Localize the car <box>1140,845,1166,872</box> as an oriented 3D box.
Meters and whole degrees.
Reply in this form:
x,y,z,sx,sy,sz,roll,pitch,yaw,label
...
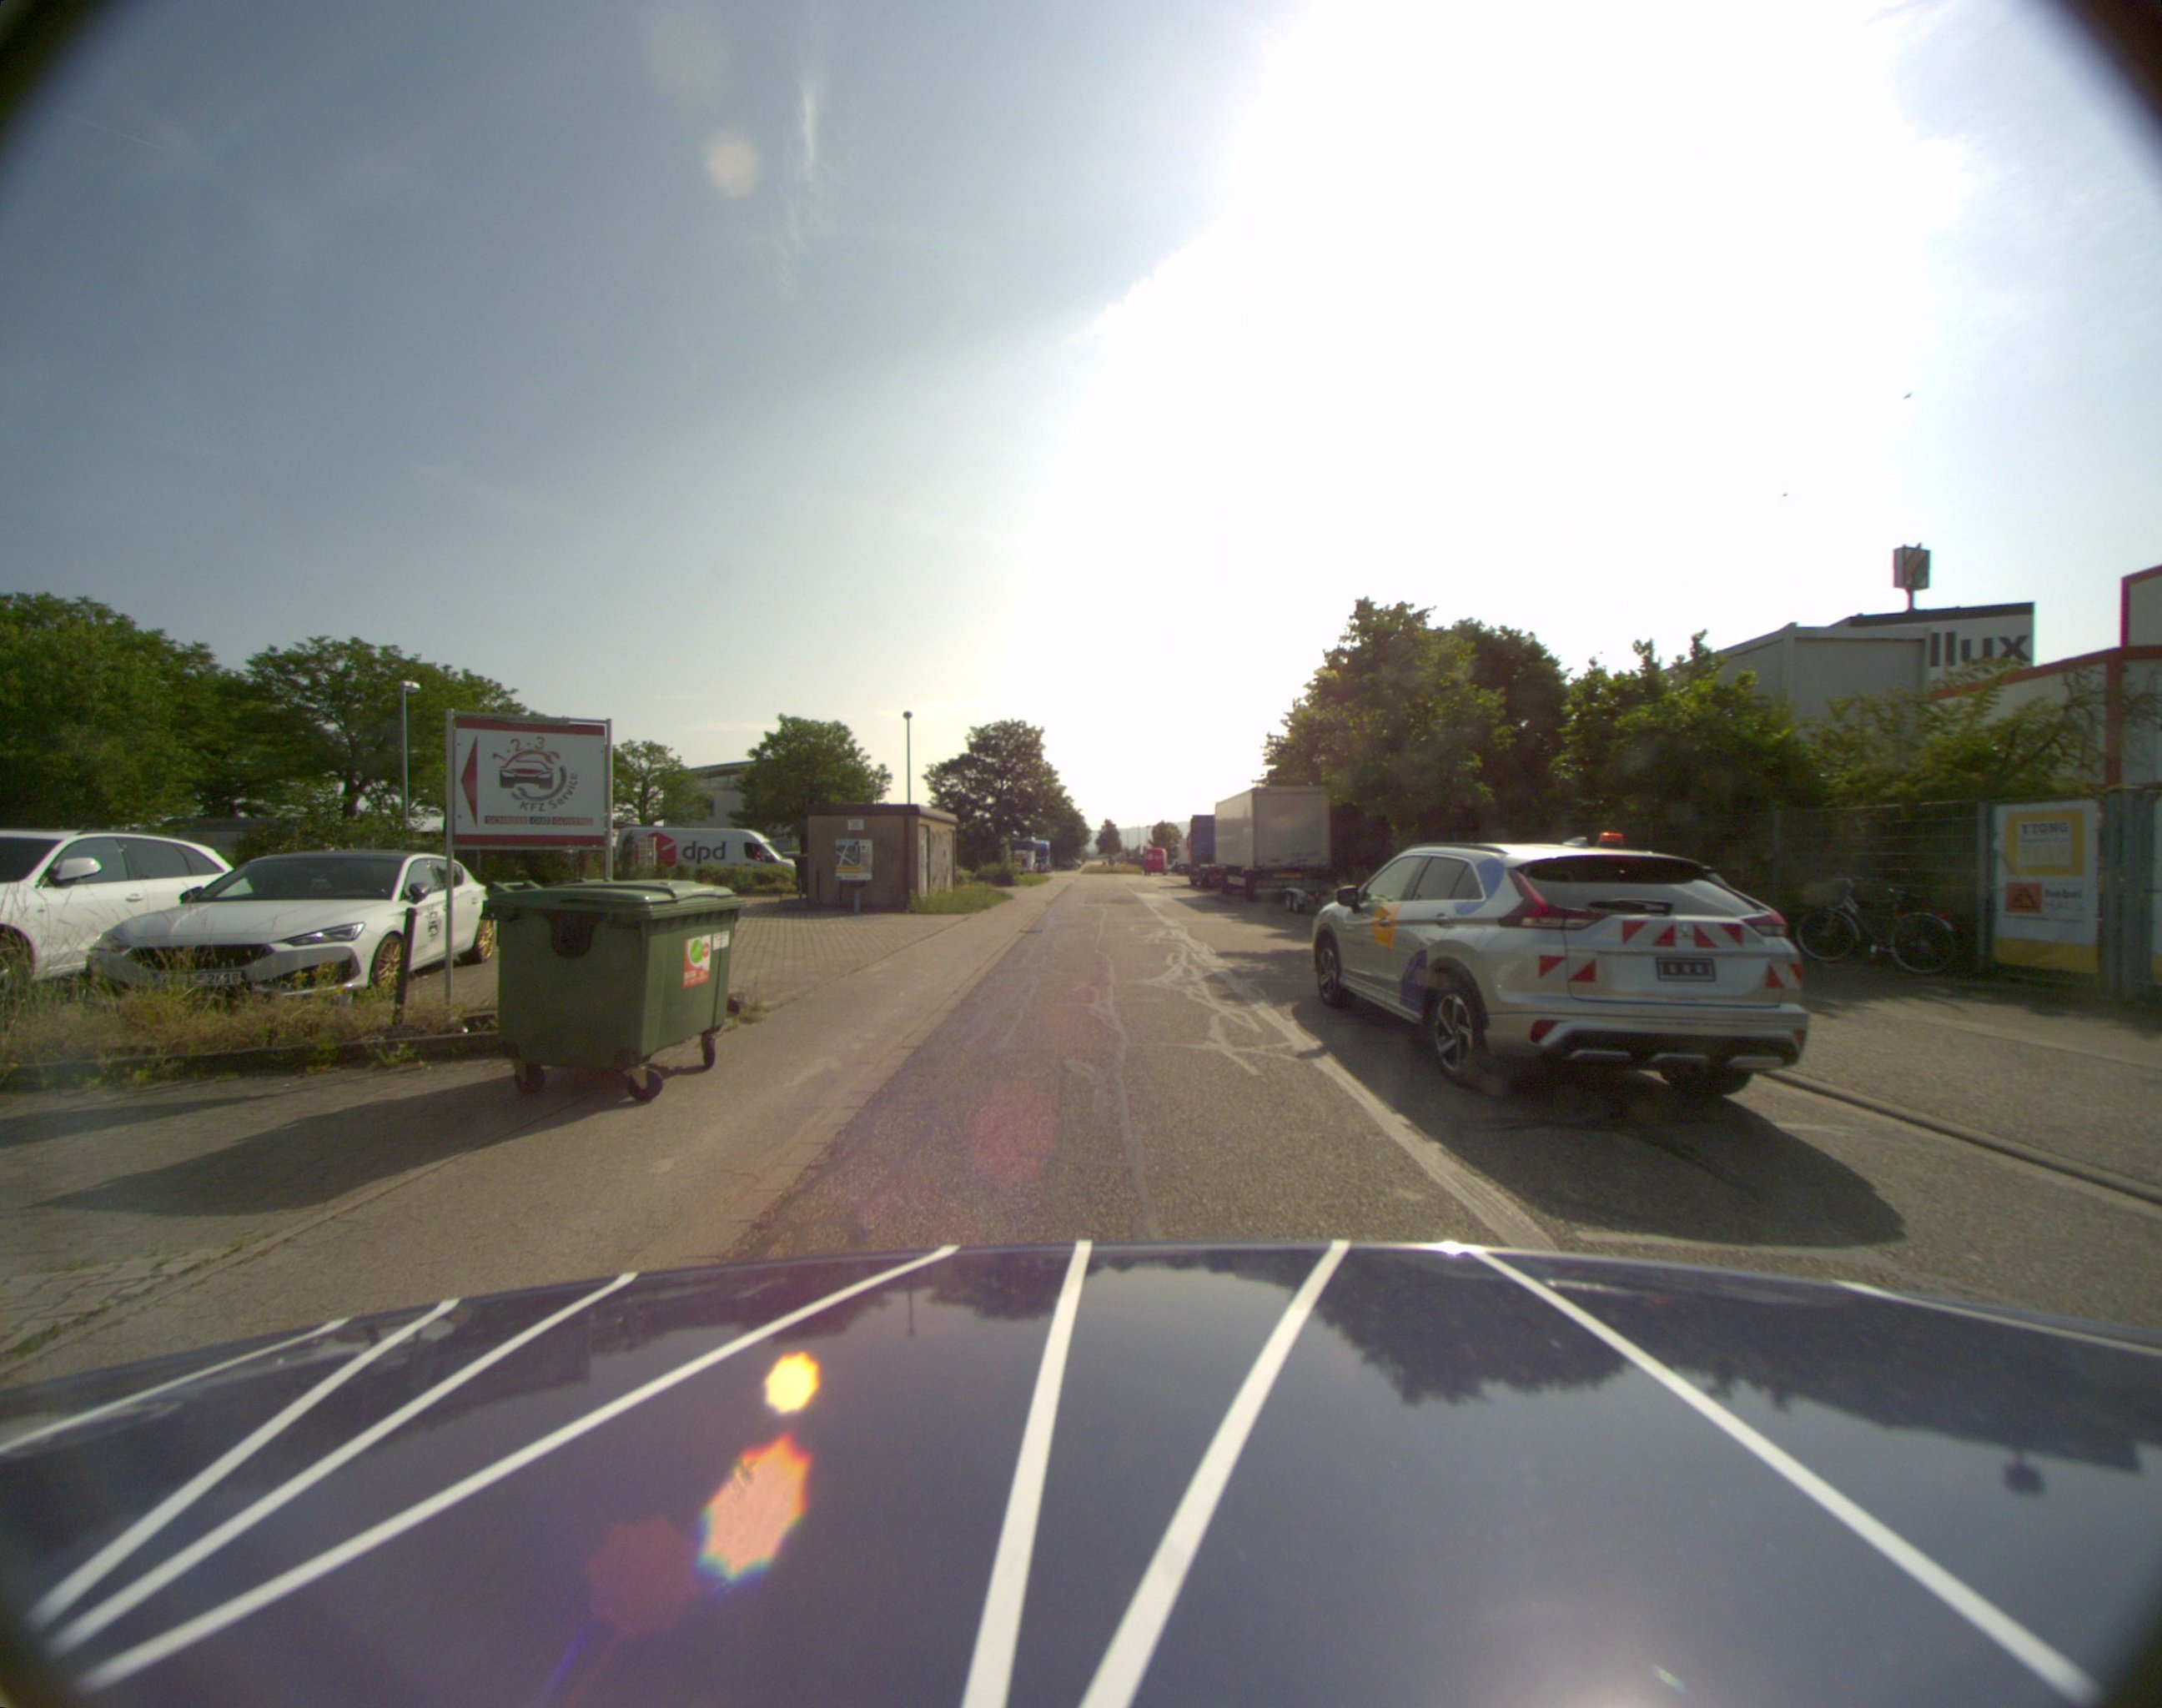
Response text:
x,y,z,sx,sy,sz,roll,pitch,yaw,label
6.992,0.413,74.232,1.998,2.532,6.990,1,0,2,car

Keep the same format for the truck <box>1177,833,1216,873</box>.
x,y,z,sx,sy,sz,roll,pitch,yaw,label
12.034,-0.071,80.051,2.783,3.831,10.063,1,0,1,truck

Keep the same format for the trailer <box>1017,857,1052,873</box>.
x,y,z,sx,sy,sz,roll,pitch,yaw,label
-4.762,1.065,80.311,2.553,1.383,14.136,1,0,1,trailer

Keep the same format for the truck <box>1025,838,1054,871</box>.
x,y,z,sx,sy,sz,roll,pitch,yaw,label
-5.091,0.076,94.685,3.043,3.916,10.578,0,0,0,truck

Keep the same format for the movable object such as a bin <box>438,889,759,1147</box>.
x,y,z,sx,sy,sz,roll,pitch,yaw,label
-3.079,0.966,5.081,1.083,1.345,1.506,3,0,4,movable object such as a bin

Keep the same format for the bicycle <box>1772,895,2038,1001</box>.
x,y,z,sx,sy,sz,roll,pitch,yaw,label
9.777,1.052,9.218,0.563,0.967,2.452,1,0,1,bicycle

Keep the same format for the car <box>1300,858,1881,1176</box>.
x,y,z,sx,sy,sz,roll,pitch,yaw,label
3.265,0.862,6.083,1.816,1.617,4.249,1,0,1,car

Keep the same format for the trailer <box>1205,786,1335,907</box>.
x,y,z,sx,sy,sz,roll,pitch,yaw,label
6.967,-0.248,29.671,2.706,3.861,9.765,-1,0,1,trailer

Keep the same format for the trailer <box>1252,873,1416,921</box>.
x,y,z,sx,sy,sz,roll,pitch,yaw,label
6.884,1.127,21.680,2.655,0.979,6.243,1,0,1,trailer

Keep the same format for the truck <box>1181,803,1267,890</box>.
x,y,z,sx,sy,sz,roll,pitch,yaw,label
7.132,-0.352,39.388,2.720,3.861,9.636,-1,0,1,truck

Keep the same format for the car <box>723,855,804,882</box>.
x,y,z,sx,sy,sz,roll,pitch,yaw,label
-17.668,0.781,42.510,4.045,1.455,1.797,0,0,-19,car

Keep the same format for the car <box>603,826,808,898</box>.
x,y,z,sx,sy,sz,roll,pitch,yaw,label
-14.379,0.281,29.610,6.747,2.524,2.278,-1,0,-12,car

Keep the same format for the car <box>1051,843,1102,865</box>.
x,y,z,sx,sy,sz,roll,pitch,yaw,label
-0.728,-0.008,123.832,8.151,3.217,2.663,-1,0,-4,car

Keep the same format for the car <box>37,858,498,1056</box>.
x,y,z,sx,sy,sz,roll,pitch,yaw,label
-7.831,0.779,7.966,1.695,1.457,4.254,0,0,-23,car

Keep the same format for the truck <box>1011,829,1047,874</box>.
x,y,z,sx,sy,sz,roll,pitch,yaw,label
-4.862,-0.206,72.470,2.559,3.958,8.581,2,0,1,truck

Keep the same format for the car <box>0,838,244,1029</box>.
x,y,z,sx,sy,sz,roll,pitch,yaw,label
-10.058,0.646,6.891,1.723,1.563,4.125,0,0,-23,car
